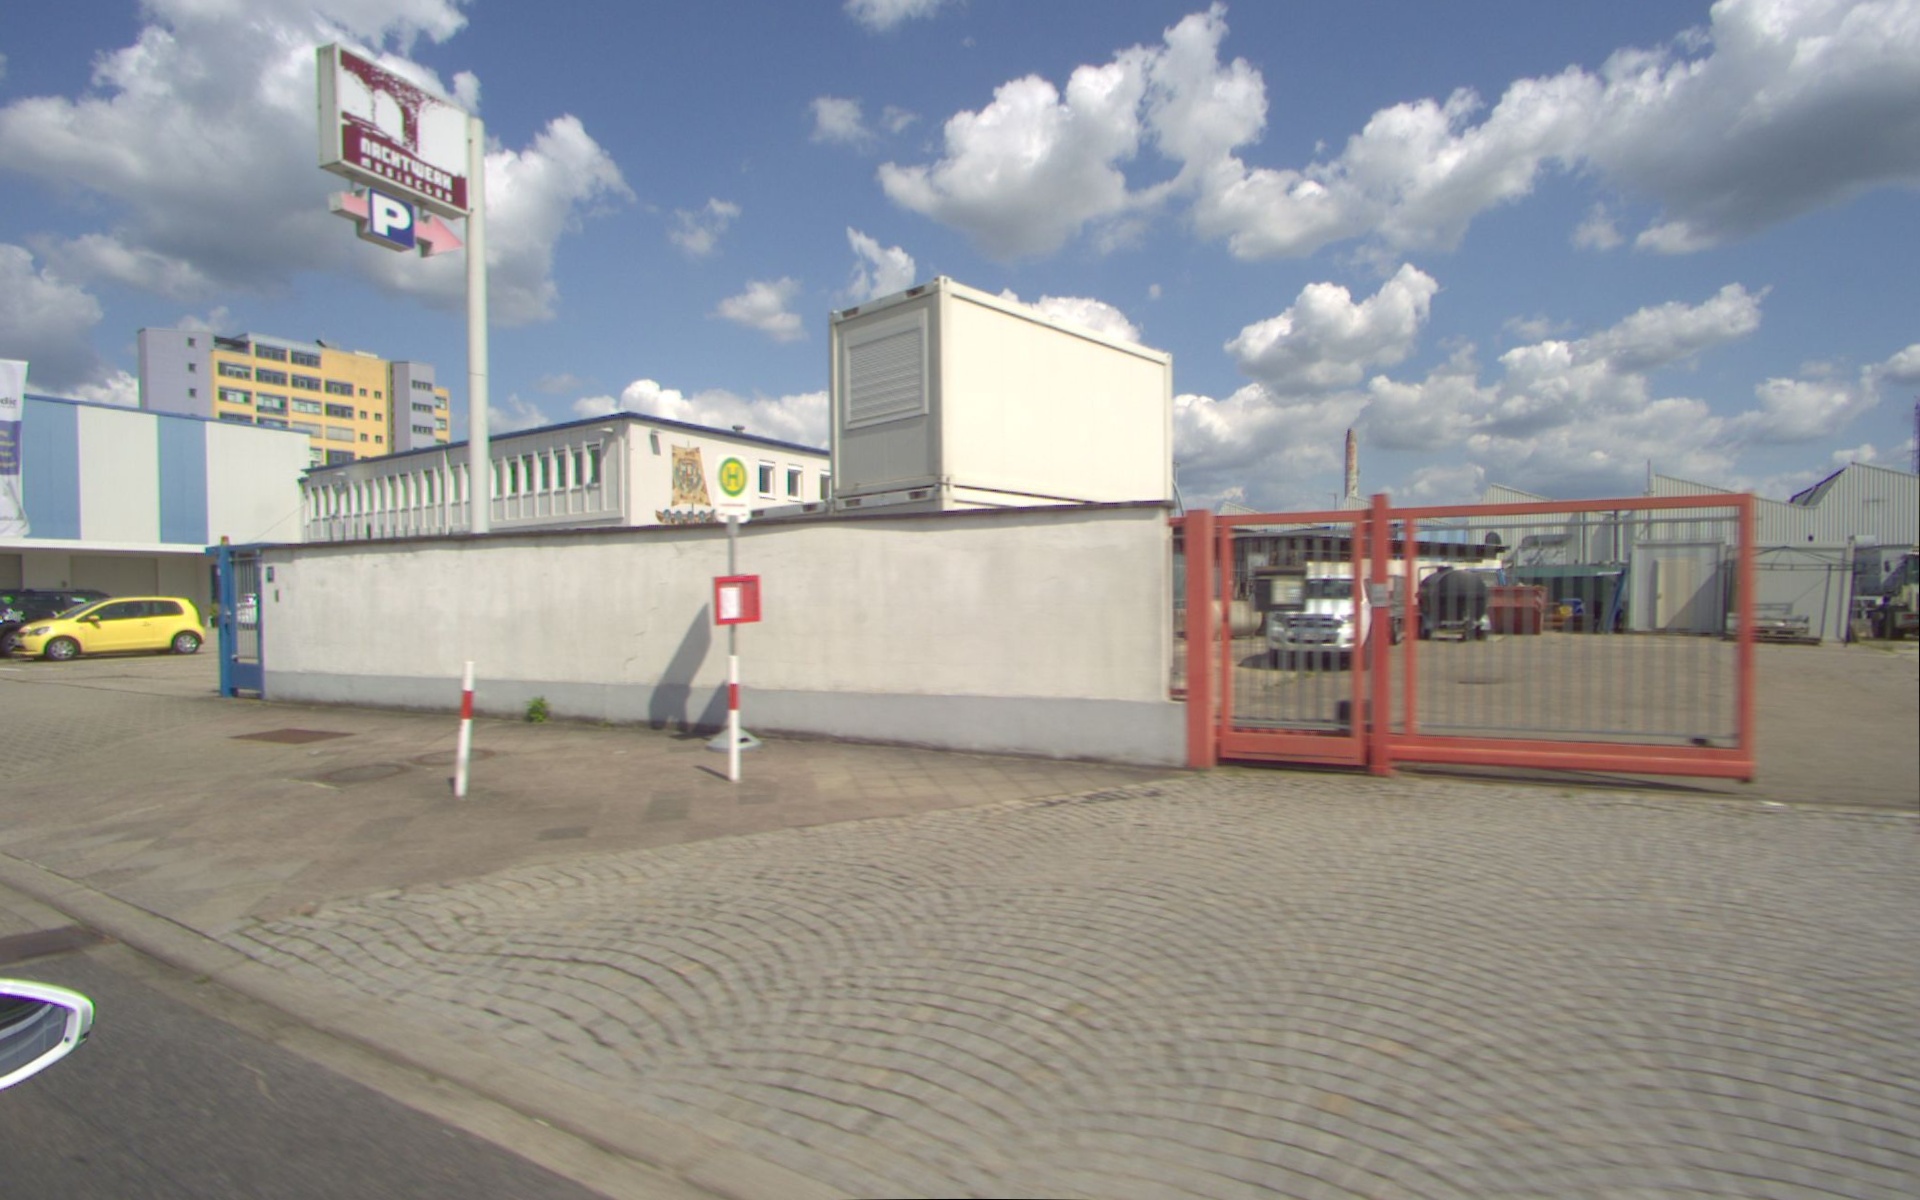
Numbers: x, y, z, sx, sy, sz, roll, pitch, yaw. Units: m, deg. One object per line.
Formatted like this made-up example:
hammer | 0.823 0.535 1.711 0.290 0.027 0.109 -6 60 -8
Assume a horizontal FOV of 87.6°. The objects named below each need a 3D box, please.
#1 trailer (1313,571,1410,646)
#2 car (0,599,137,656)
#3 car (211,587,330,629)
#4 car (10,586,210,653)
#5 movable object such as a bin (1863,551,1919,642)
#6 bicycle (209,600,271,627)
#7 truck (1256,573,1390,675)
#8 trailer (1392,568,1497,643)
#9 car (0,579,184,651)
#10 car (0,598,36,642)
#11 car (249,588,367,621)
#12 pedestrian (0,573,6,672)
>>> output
trailer | 10.541 0.169 26.089 1.968 1.767 4.732 0 1 27
car | -25.100 0.716 27.087 1.972 1.439 3.977 0 1 33
car | -30.896 0.343 44.978 1.780 1.763 4.049 0 0 32
car | -20.818 0.480 24.635 1.766 1.509 3.397 0 -1 32
movable object such as a bin | 27.806 -0.090 28.785 1.970 2.477 3.823 0 0 30
bicycle | -33.026 0.616 45.951 0.632 1.228 2.219 1 0 32
truck | 7.451 0.388 20.210 1.968 1.767 5.187 0 1 27
trailer | 13.691 0.117 28.584 1.721 1.966 4.745 0 1 13
car | -22.726 0.394 25.952 1.766 1.702 3.799 0 -1 32
car | -33.088 0.665 32.457 1.972 1.439 4.269 0 1 33
car | -28.776 0.188 44.303 1.780 1.418 3.979 0 0 32
pedestrian | -17.779 0.418 17.944 0.775 1.781 0.767 0 2 32
